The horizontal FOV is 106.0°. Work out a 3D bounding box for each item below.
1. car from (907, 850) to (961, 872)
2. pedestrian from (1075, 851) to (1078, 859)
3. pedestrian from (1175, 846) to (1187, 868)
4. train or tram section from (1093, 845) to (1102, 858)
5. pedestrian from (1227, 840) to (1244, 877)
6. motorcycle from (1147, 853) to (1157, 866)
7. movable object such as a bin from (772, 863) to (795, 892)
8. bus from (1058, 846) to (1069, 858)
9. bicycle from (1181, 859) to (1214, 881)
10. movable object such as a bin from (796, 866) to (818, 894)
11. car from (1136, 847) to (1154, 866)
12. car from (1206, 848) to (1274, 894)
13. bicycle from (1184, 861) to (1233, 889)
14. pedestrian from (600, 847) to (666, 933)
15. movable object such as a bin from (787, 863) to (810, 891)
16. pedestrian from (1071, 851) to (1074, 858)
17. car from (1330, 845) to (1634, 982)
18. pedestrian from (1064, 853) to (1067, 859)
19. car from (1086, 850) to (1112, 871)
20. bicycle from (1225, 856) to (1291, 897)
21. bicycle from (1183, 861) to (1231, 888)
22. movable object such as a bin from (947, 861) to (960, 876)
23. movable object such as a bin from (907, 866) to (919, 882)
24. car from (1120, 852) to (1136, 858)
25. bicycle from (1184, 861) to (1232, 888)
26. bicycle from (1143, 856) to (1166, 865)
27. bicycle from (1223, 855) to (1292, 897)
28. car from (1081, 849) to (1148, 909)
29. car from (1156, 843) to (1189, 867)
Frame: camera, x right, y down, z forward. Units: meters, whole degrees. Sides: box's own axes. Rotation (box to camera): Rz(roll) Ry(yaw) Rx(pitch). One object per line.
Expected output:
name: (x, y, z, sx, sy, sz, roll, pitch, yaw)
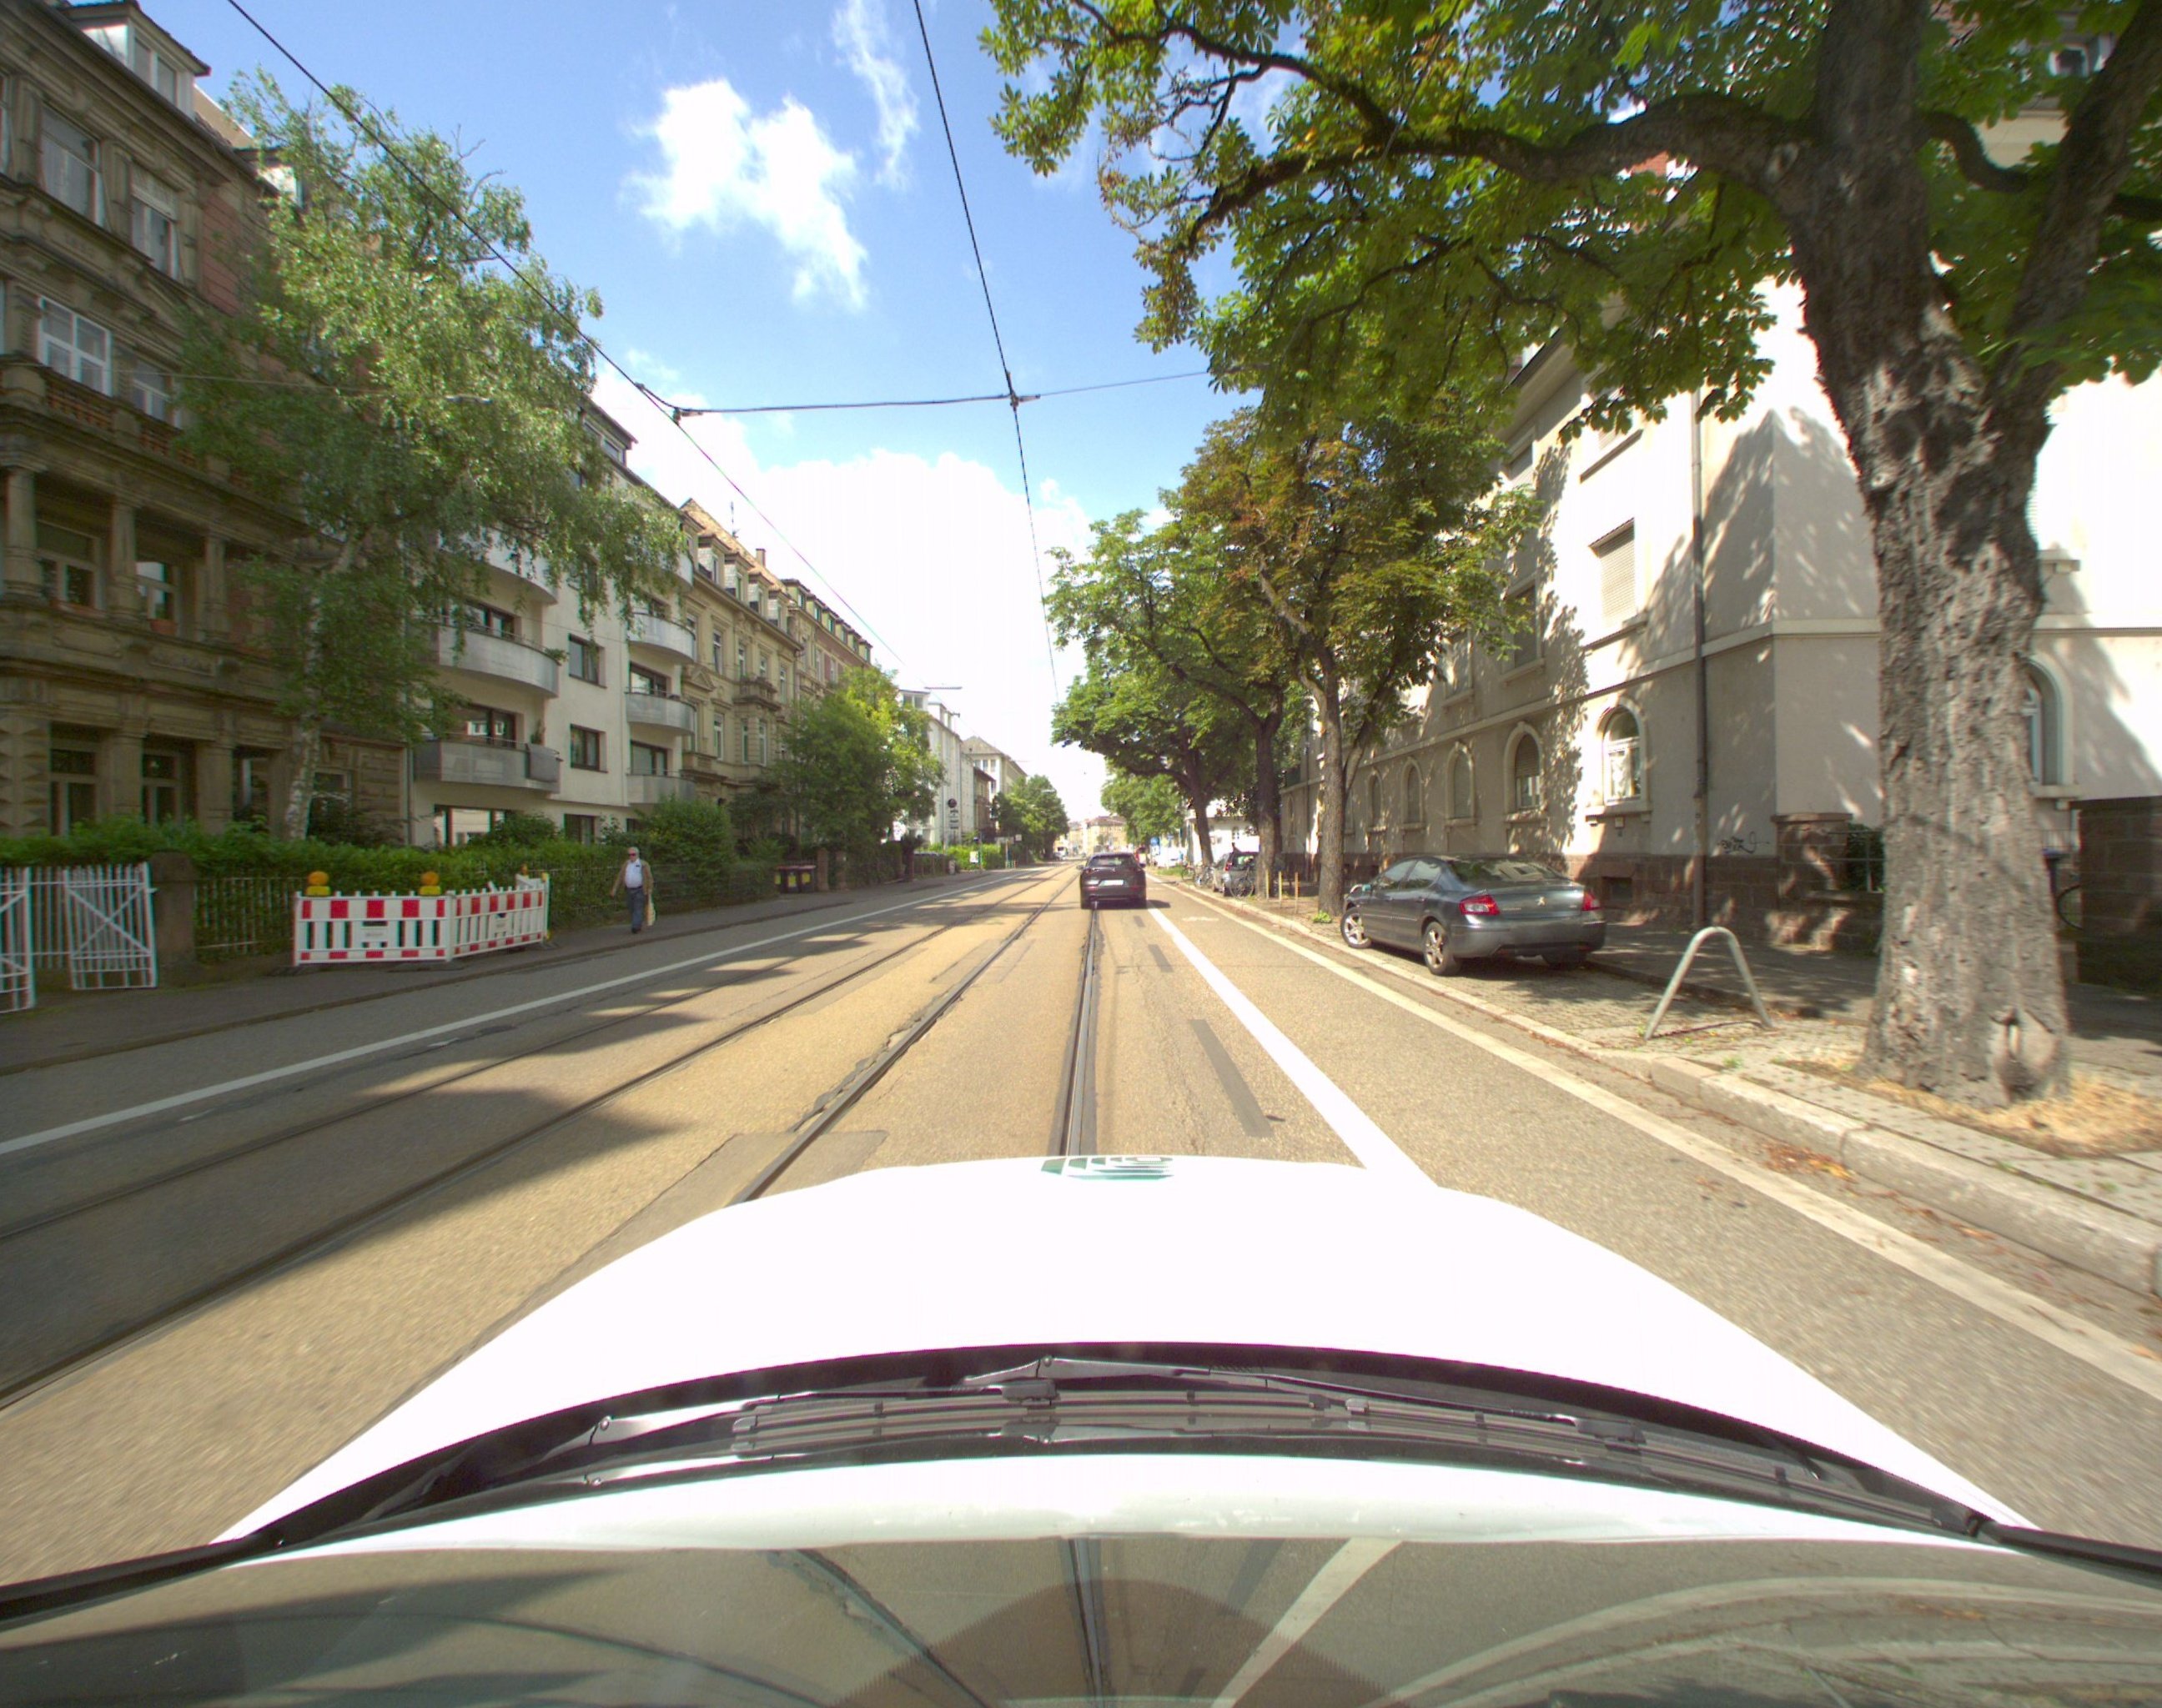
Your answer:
car: (-13.859, 0.631, 76.766, 4.621, 2.013, 2.058, -1, 0, 23)
pedestrian: (-1.187, 0.246, 225.346, 0.882, 2.013, 0.617, -1, 0, -3)
pedestrian: (8.182, 0.252, 66.942, 0.813, 1.835, 0.961, -1, 0, -4)
train or tram section: (4.973, -0.902, 246.509, 2.562, 3.772, 13.031, -1, 0, 2)
pedestrian: (7.869, 0.252, 41.544, 0.608, 1.836, 0.878, -1, -2, -1)
motorcycle: (6.993, 0.541, 80.376, 0.791, 1.271, 2.423, -1, 0, 1)
movable object such as a bin: (-11.881, 0.941, 32.557, 0.546, 1.108, 0.791, -1, 0, 6)
bus: (-5.440, -0.553, 247.001, 2.684, 3.421, 10.999, 1, 0, -5)
bicycle: (5.427, 0.757, 38.099, 1.485, 0.983, 0.259, -2, -1, 3)
movable object such as a bin: (-10.862, 1.019, 32.340, 0.535, 1.094, 0.791, -1, 0, 6)
car: (6.808, 0.239, 87.219, 1.714, 1.968, 4.209, -1, 0, 2)
car: (5.504, 0.562, 28.596, 1.660, 1.430, 3.767, -3, 0, 2)
bicycle: (5.155, 0.837, 32.923, 1.896, 1.072, 0.402, -1, 0, 1)
pedestrian: (-9.135, 0.714, 16.640, 0.820, 1.706, 0.891, -1, 0, -2)
movable object such as a bin: (-11.307, 0.920, 32.590, 0.546, 1.108, 0.791, -1, 0, 6)
pedestrian: (-2.364, 0.144, 225.229, 0.882, 2.013, 0.617, -1, 0, -3)
car: (5.088, 0.655, 11.149, 1.841, 1.409, 4.391, -3, 0, -2)
pedestrian: (-3.916, 0.537, 200.885, 0.749, 1.510, 0.823, -1, 0, -3)
car: (1.456, 0.507, 64.876, 1.986, 1.529, 4.001, 1, 0, 1)
bicycle: (5.343, 0.668, 24.647, 1.881, 1.176, 0.515, -2, -1, 12)
bicycle: (5.210, 0.831, 33.769, 1.896, 1.072, 0.402, -1, 0, 1)
movable object such as a bin: (-9.230, 1.042, 58.903, 0.742, 0.988, 1.114, 1, 0, 1)
movable object such as a bin: (-9.530, 1.107, 46.197, 0.560, 0.876, 0.616, -1, 0, 1)
car: (12.238, 0.249, 212.139, 3.815, 1.618, 1.628, 1, 0, -17)
bicycle: (5.182, 0.834, 33.358, 1.896, 1.072, 0.402, -1, 0, 1)
bicycle: (7.506, 0.679, 83.553, 2.267, 0.861, 0.671, -1, 0, 0)
bicycle: (5.208, 0.652, 24.043, 1.924, 1.176, 0.515, -2, -1, 12)
car: (0.899, 0.639, 22.954, 1.715, 1.526, 3.590, -1, 0, 1)
car: (7.816, 0.055, 69.983, 1.784, 1.938, 4.982, -1, 0, -5)
